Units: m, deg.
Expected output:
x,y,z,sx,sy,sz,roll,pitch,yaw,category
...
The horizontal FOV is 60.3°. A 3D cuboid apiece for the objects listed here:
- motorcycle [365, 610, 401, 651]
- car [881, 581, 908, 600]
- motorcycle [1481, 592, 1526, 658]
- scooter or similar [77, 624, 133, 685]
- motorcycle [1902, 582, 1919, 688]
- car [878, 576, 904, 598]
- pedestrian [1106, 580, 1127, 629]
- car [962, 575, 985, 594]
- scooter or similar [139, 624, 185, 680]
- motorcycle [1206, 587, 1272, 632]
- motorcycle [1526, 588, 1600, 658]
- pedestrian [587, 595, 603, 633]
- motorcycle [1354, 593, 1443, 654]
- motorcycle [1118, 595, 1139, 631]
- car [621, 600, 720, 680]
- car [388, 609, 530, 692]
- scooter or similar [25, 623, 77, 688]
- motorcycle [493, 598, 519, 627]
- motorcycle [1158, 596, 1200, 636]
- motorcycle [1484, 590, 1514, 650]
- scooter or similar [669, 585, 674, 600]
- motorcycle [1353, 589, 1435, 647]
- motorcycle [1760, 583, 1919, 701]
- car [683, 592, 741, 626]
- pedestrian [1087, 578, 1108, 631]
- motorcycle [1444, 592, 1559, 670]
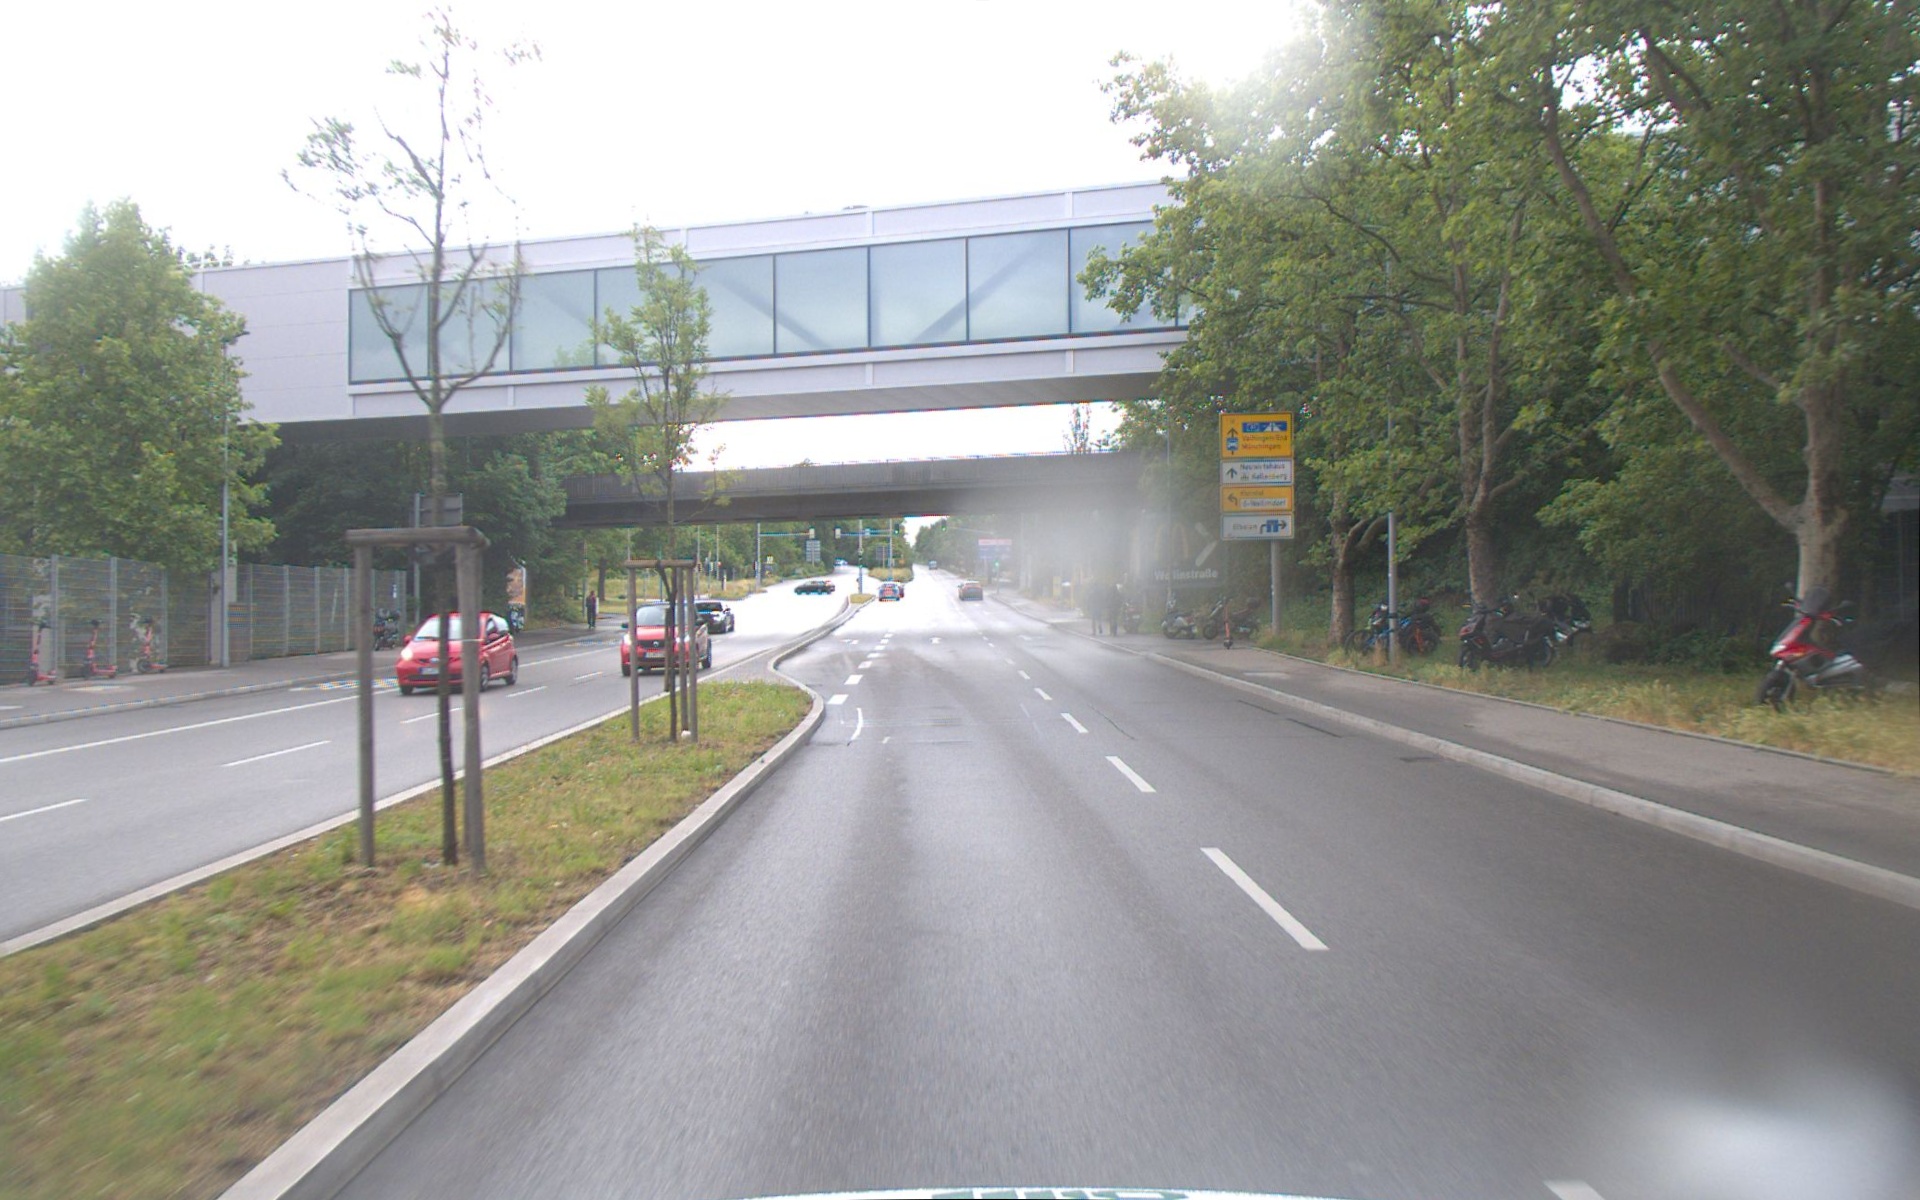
x,y,z,sx,sy,sz,roll,pitch,yaw,category
-18.501,0.964,53.048,0.459,1.226,1.996,-1,1,-1,motorcycle
-6.005,-0.835,152.105,2.121,1.610,4.665,1,0,2,car
11.323,0.502,34.435,0.510,1.301,1.851,-1,1,29,motorcycle
-18.238,1.158,35.291,0.305,1.239,1.309,-1,0,11,scooter or similar
12.572,0.445,20.141,1.874,1.279,0.491,1,-1,5,motorcycle
-5.736,-1.077,136.976,2.035,1.748,4.195,1,-1,-3,car
5.235,0.149,55.364,0.636,1.624,0.579,-1,0,10,pedestrian
1.081,-1.244,132.634,1.709,1.495,4.165,0,1,-2,car
-18.240,1.177,37.827,0.305,1.239,1.308,-1,0,4,scooter or similar
8.405,0.295,49.882,1.904,1.320,0.546,-1,0,34,motorcycle
11.588,0.429,31.854,0.632,1.302,1.990,-1,0,-1,motorcycle
-17.683,0.677,80.188,0.508,1.847,0.800,0,1,9,pedestrian
9.536,0.497,35.968,1.819,1.274,0.627,-1,0,-17,motorcycle
5.654,0.432,55.578,0.460,1.156,1.818,-1,0,-1,motorcycle
-6.461,0.862,37.195,1.553,1.633,3.854,-2,0,-1,car
-9.718,0.938,32.345,1.681,1.462,3.770,-3,0,-2,car
-18.166,1.096,33.066,0.305,1.239,1.307,-1,0,-1,scooter or similar
-19.024,0.517,69.294,0.459,1.179,1.933,-1,1,2,motorcycle
6.848,0.502,51.838,0.462,1.234,1.934,-1,0,-19,motorcycle
12.267,0.435,37.616,0.341,1.301,2.069,-1,1,26,motorcycle
-24.673,-0.632,141.250,0.306,1.239,1.303,-1,1,-15,scooter or similar
9.883,0.410,37.683,0.623,1.274,1.831,-1,0,-36,motorcycle
9.117,0.425,16.894,1.618,1.170,0.493,1,-1,7,motorcycle
-10.956,0.376,73.425,2.022,1.385,4.755,-1,0,-2,car
4.613,0.141,55.571,0.598,1.751,0.892,-1,0,9,pedestrian
8.831,0.498,26.971,1.819,1.212,0.519,-1,0,-17,motorcycle
